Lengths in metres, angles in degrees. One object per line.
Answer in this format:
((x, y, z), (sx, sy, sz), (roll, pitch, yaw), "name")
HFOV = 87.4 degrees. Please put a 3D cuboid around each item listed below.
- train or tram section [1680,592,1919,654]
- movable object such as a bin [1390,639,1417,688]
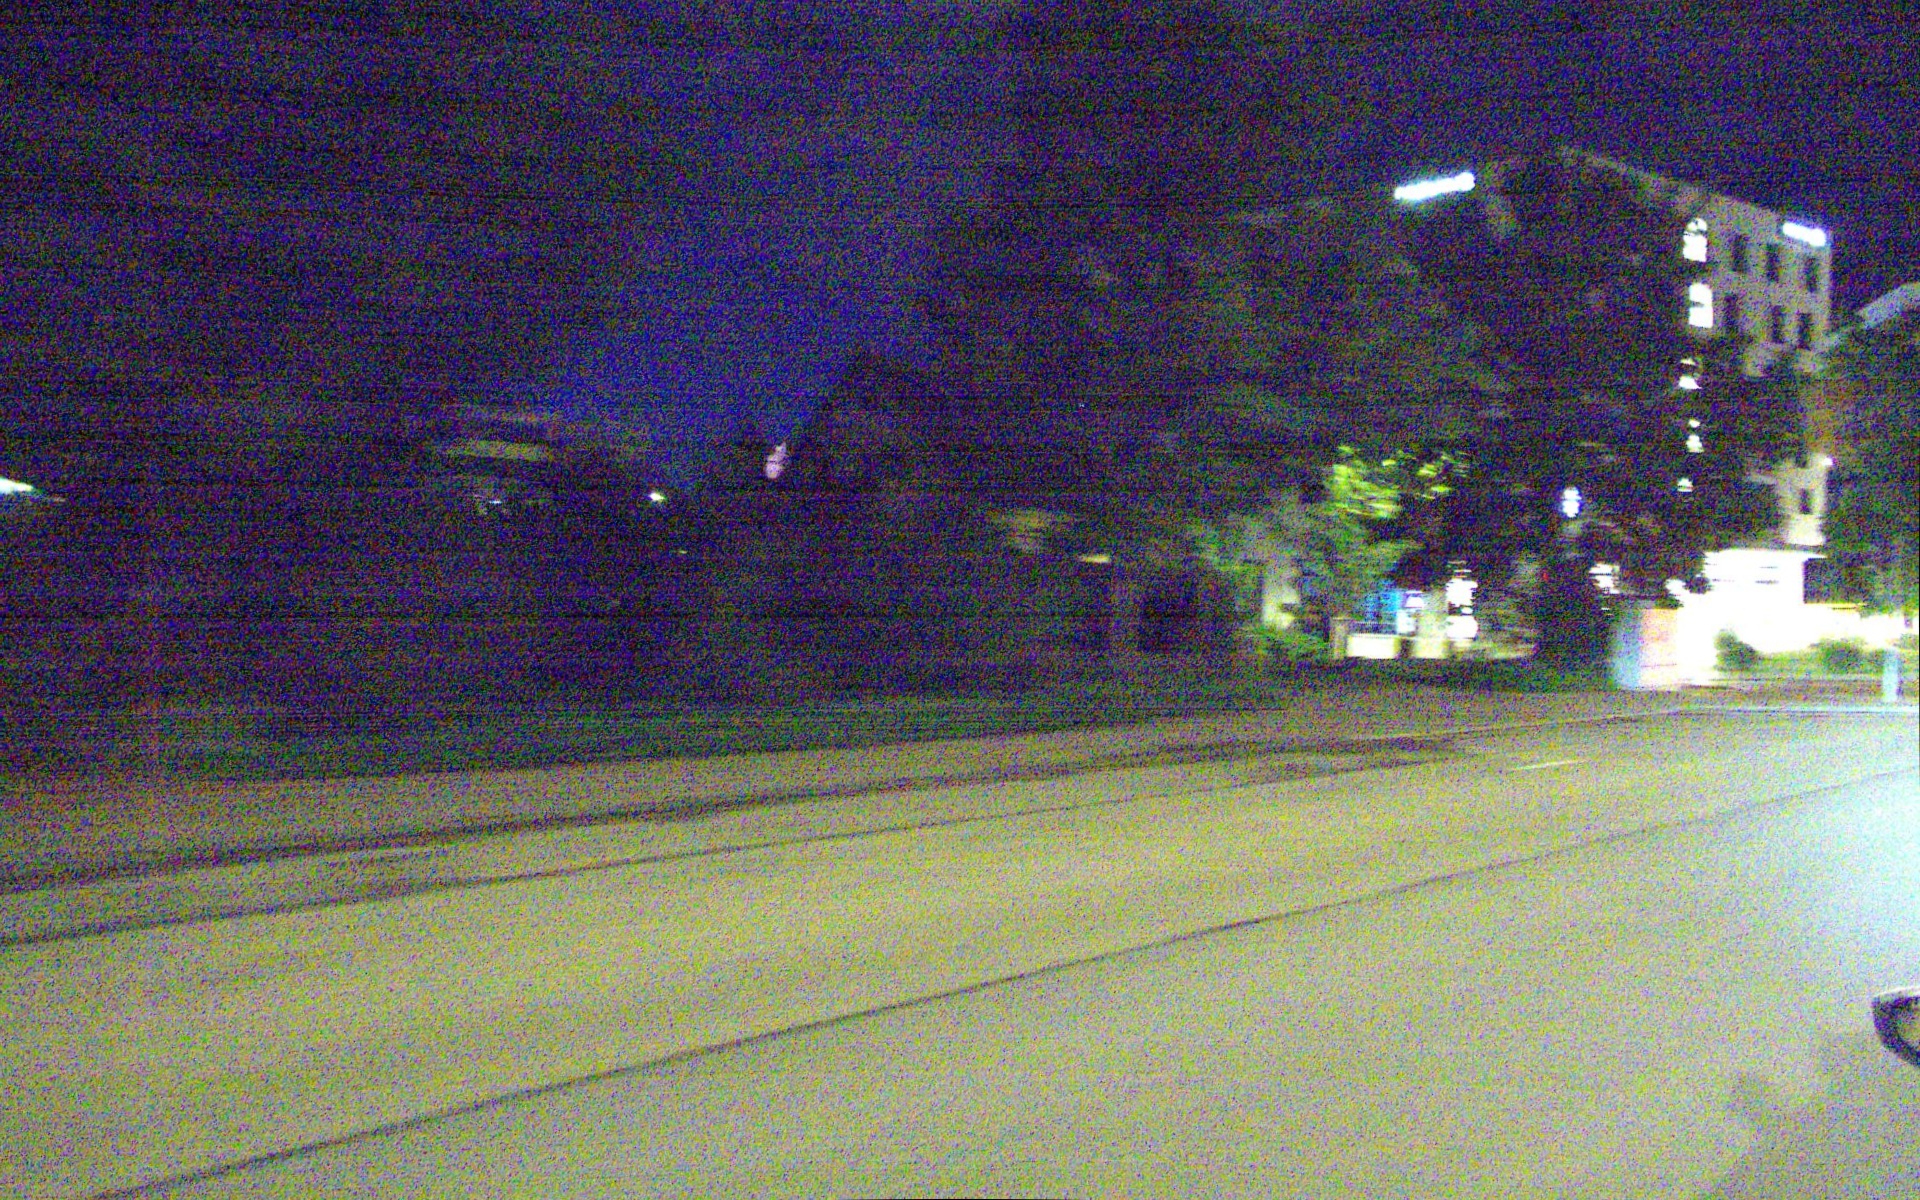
((59.312, 1.547, 67.181), (2.885, 3.873, 19.110), (1, -2, -26), "train or tram section")
((11.970, 1.710, 27.127), (0.608, 1.324, 0.569), (-1, -2, 19), "movable object such as a bin")
